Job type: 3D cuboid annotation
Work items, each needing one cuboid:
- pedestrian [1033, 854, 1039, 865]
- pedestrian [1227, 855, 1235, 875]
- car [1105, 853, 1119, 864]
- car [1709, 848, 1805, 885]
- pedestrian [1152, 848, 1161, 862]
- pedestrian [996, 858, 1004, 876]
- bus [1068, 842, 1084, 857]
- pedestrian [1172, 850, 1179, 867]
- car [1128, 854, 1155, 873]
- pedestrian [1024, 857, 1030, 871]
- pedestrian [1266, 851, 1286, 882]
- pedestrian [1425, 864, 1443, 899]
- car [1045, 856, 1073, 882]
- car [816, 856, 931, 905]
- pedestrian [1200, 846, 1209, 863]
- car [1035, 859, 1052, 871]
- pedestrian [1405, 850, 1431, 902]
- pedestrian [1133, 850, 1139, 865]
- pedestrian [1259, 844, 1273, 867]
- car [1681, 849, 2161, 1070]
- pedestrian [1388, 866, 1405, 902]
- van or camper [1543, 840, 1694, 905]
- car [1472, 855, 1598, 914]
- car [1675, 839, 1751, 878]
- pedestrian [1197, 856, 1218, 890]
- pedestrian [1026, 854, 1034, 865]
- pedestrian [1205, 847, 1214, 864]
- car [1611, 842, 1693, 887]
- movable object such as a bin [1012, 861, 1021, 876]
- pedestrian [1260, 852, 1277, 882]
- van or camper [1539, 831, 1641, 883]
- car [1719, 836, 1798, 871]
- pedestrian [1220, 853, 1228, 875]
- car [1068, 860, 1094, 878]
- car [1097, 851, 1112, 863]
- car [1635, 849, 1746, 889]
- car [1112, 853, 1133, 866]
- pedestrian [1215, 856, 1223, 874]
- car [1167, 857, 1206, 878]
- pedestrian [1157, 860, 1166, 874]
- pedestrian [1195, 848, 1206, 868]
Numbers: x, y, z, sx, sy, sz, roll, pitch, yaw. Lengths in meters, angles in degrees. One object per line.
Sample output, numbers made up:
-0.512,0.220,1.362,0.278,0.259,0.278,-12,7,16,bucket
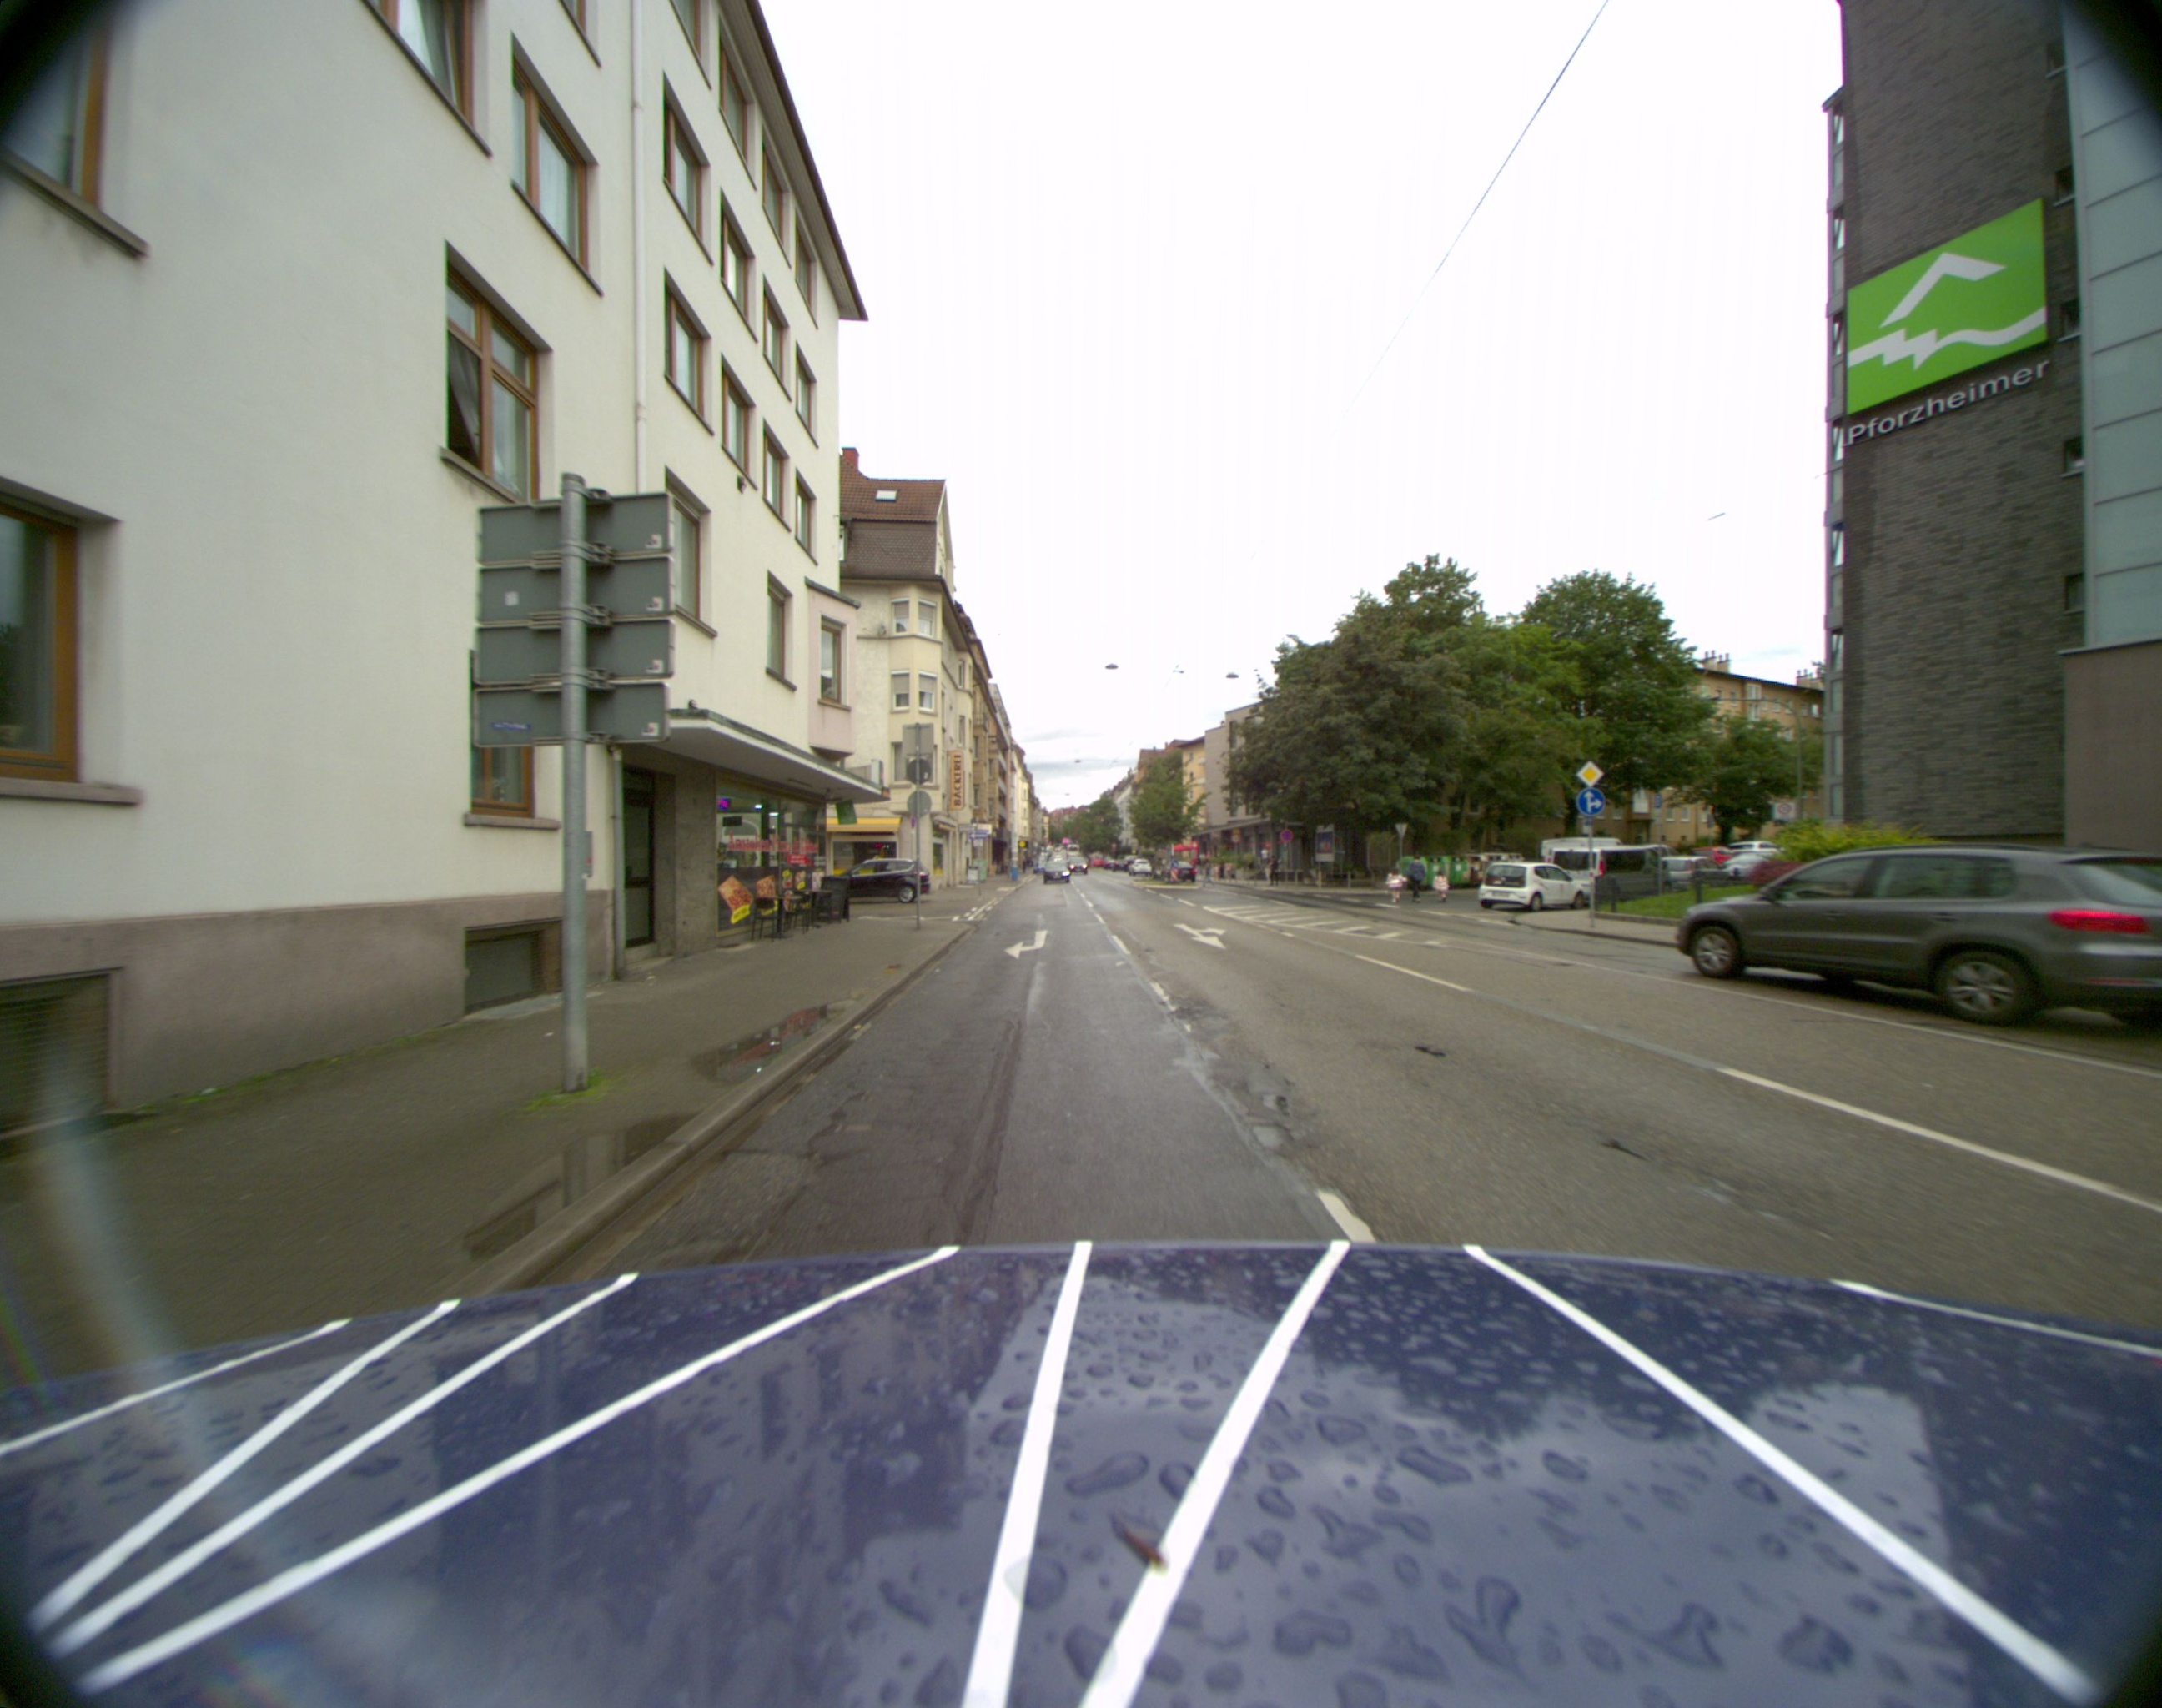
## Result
-6.874,0.781,115.561,0.791,1.656,0.699,1,0,13,pedestrian
11.391,0.845,57.816,0.461,1.464,0.530,-1,0,-6,pedestrian
4.473,0.615,109.255,1.959,1.503,4.912,-3,1,3,car
28.069,0.487,31.541,4.006,1.455,1.691,0,0,-28,car
9.506,0.158,96.087,0.793,1.698,0.761,-3,0,-27,pedestrian
-7.330,1.186,68.626,0.563,1.563,0.626,-1,0,-18,pedestrian
-1.263,-1.052,179.731,2.813,3.227,11.957,4,0,-3,bus
10.552,0.508,84.811,0.591,1.808,0.870,-1,0,-11,pedestrian
5.577,0.875,70.413,1.825,1.559,4.088,3,-1,-3,car
-6.314,1.148,89.362,0.627,1.642,0.748,-1,0,-2,pedestrian
11.329,0.725,44.219,0.863,1.834,0.693,-1,0,-17,pedestrian
12.090,0.942,26.012,0.410,1.191,0.358,-1,0,-8,pedestrian
-1.443,0.962,51.131,1.734,1.539,3.980,1,2,0,car
-7.961,0.977,29.477,4.152,1.761,1.871,-1,0,-11,car
12.405,0.085,76.501,0.715,1.668,0.713,-1,0,-3,pedestrian
-4.370,1.278,89.289,1.739,1.302,3.767,-3,0,0,car
11.515,0.739,25.975,0.576,1.752,0.581,-1,0,-8,pedestrian
7.565,0.461,104.172,0.703,2.002,0.782,-1,1,-6,pedestrian
14.677,0.137,60.354,0.724,1.815,0.720,-1,-1,-30,pedestrian
8.798,0.807,7.758,1.954,1.649,4.055,2,0,-3,car
10.775,1.017,25.967,0.410,1.191,0.311,-1,0,-9,pedestrian
18.393,0.597,25.984,4.974,2.001,1.996,-1,-1,-26,van or camper
14.019,0.875,23.430,3.594,1.561,1.737,-2,2,-28,car
35.451,0.239,42.624,4.006,2.002,1.995,-2,1,-30,car
7.035,1.054,42.314,0.724,1.815,0.853,-1,-1,-25,pedestrian
-7.686,0.843,114.753,0.855,1.738,1.062,1,0,-19,pedestrian
12.727,0.156,75.260,0.712,1.668,0.801,-1,0,26,pedestrian
29.866,0.528,39.715,4.007,2.242,1.995,0,-1,-30,car
-7.636,1.727,89.562,1.002,1.783,1.295,0,1,-4,movable object such as a bin
11.129,0.771,45.012,0.658,1.748,0.719,-1,0,-26,pedestrian
24.419,0.119,36.414,4.625,2.253,2.207,-3,0,-31,van or camper
40.264,0.001,45.173,4.005,2.001,1.996,0,-1,-23,car
10.883,0.770,57.824,0.499,1.663,0.552,-1,0,-6,pedestrian
-0.008,1.468,75.045,1.857,1.646,4.201,-1,-1,-10,car
3.762,0.435,123.654,2.112,1.755,5.057,1,2,-2,car
23.375,0.540,29.134,3.734,1.435,1.996,0,0,-28,car
5.039,0.713,92.769,1.960,1.547,4.242,1,-1,-4,car
10.623,0.852,58.379,0.434,1.402,0.481,-1,0,-6,pedestrian
7.523,0.914,54.404,2.019,1.417,4.498,0,0,-2,car
7.889,1.278,74.839,0.590,1.412,0.726,-1,0,32,pedestrian
11.002,0.405,70.082,0.724,1.815,0.721,-1,-1,-21,pedestrian
